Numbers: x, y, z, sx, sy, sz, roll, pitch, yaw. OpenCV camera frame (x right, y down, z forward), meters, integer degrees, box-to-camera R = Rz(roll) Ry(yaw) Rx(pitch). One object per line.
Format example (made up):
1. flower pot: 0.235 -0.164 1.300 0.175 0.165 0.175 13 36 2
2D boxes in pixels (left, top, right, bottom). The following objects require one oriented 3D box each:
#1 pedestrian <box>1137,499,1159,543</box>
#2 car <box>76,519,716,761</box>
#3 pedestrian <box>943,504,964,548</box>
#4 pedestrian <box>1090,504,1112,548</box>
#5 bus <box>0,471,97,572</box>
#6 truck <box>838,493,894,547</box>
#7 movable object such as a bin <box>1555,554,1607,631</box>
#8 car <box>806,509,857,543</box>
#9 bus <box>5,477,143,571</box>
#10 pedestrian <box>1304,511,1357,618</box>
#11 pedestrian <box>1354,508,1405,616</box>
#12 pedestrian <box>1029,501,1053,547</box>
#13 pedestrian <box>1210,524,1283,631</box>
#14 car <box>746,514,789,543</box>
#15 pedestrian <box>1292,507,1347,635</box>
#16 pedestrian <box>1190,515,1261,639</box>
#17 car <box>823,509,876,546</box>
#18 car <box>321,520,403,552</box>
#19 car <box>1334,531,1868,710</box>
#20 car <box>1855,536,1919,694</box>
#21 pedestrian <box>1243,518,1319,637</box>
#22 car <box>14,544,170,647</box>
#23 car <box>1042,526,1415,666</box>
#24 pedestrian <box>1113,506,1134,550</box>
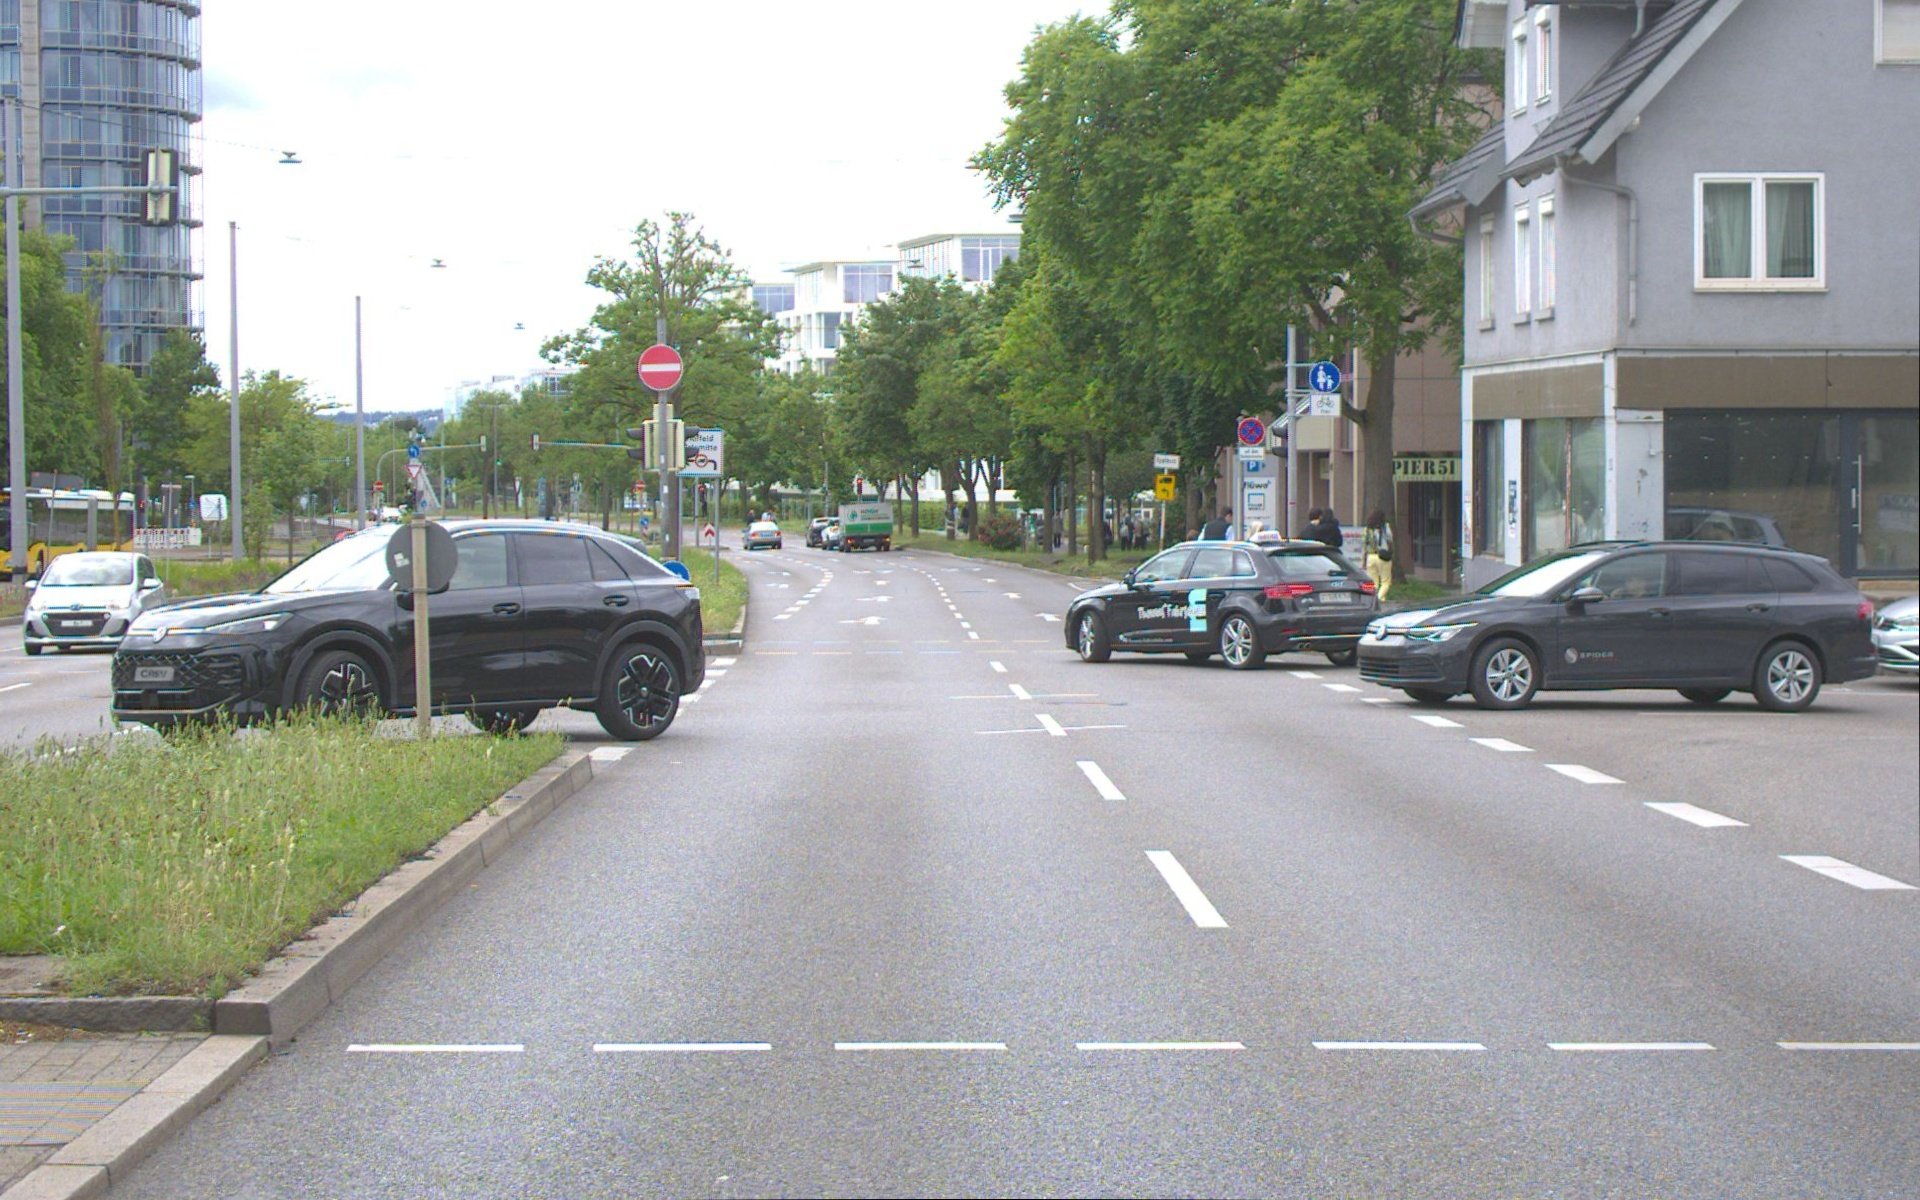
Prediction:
1. pedestrian: 6.837 -2.865 124.959 0.650 1.564 0.671 -1 1 -8
2. car: -3.849 0.206 23.898 4.061 1.516 1.840 -2 2 -44
3. pedestrian: -0.346 -3.886 180.730 0.930 2.300 1.011 1 0 -10
4. pedestrian: 5.130 -2.688 124.939 0.650 1.564 0.671 -1 1 -8
5. bus: -31.408 -2.569 114.458 3.144 3.214 10.286 -1 1 -3
6. truck: -4.281 -3.642 156.488 2.251 2.408 4.934 0 1 -5
7. movable object such as a bin: 7.953 -0.102 44.045 0.529 0.976 0.736 -1 1 -1
8. car: -6.522 -3.738 173.855 2.250 1.641 4.934 -1 1 -5
9. bus: -31.747 -2.710 123.462 3.144 3.214 7.766 -1 1 -2
10. pedestrian: 5.795 -0.560 53.766 0.705 1.656 0.870 0 1 14
11. pedestrian: 6.535 -0.598 53.528 0.705 1.656 0.870 0 1 11
12. pedestrian: 3.557 -3.345 151.073 0.971 2.007 0.981 1 0 -1
13. pedestrian: 4.060 -0.322 48.783 0.867 1.502 0.708 -1 1 -9
14. car: -9.707 -3.593 173.147 1.967 1.415 4.023 -1 1 -5
15. pedestrian: 5.017 -0.411 47.920 0.705 1.754 1.052 0 1 8
16. pedestrian: 3.827 -0.334 49.602 0.867 1.773 0.708 -1 1 -9
17. car: -5.325 -3.474 165.061 2.251 1.751 4.934 -1 1 -5
18. car: -28.615 -3.044 164.483 3.550 1.487 1.708 -1 1 4
19. car: 5.622 0.167 30.279 4.273 1.476 1.715 0 2 -15
20. car: 11.300 0.181 34.555 4.101 1.535 1.829 1 1 1
21. pedestrian: 4.838 -0.341 51.864 0.867 1.773 0.707 -1 1 -34
22. car: -12.811 -0.092 50.919 1.684 1.457 3.556 -1 1 -5
23. car: 2.975 -0.067 38.836 1.890 1.489 4.097 -1 1 -39
24. pedestrian: 5.937 -2.620 124.896 0.650 1.564 0.671 -1 1 -8
